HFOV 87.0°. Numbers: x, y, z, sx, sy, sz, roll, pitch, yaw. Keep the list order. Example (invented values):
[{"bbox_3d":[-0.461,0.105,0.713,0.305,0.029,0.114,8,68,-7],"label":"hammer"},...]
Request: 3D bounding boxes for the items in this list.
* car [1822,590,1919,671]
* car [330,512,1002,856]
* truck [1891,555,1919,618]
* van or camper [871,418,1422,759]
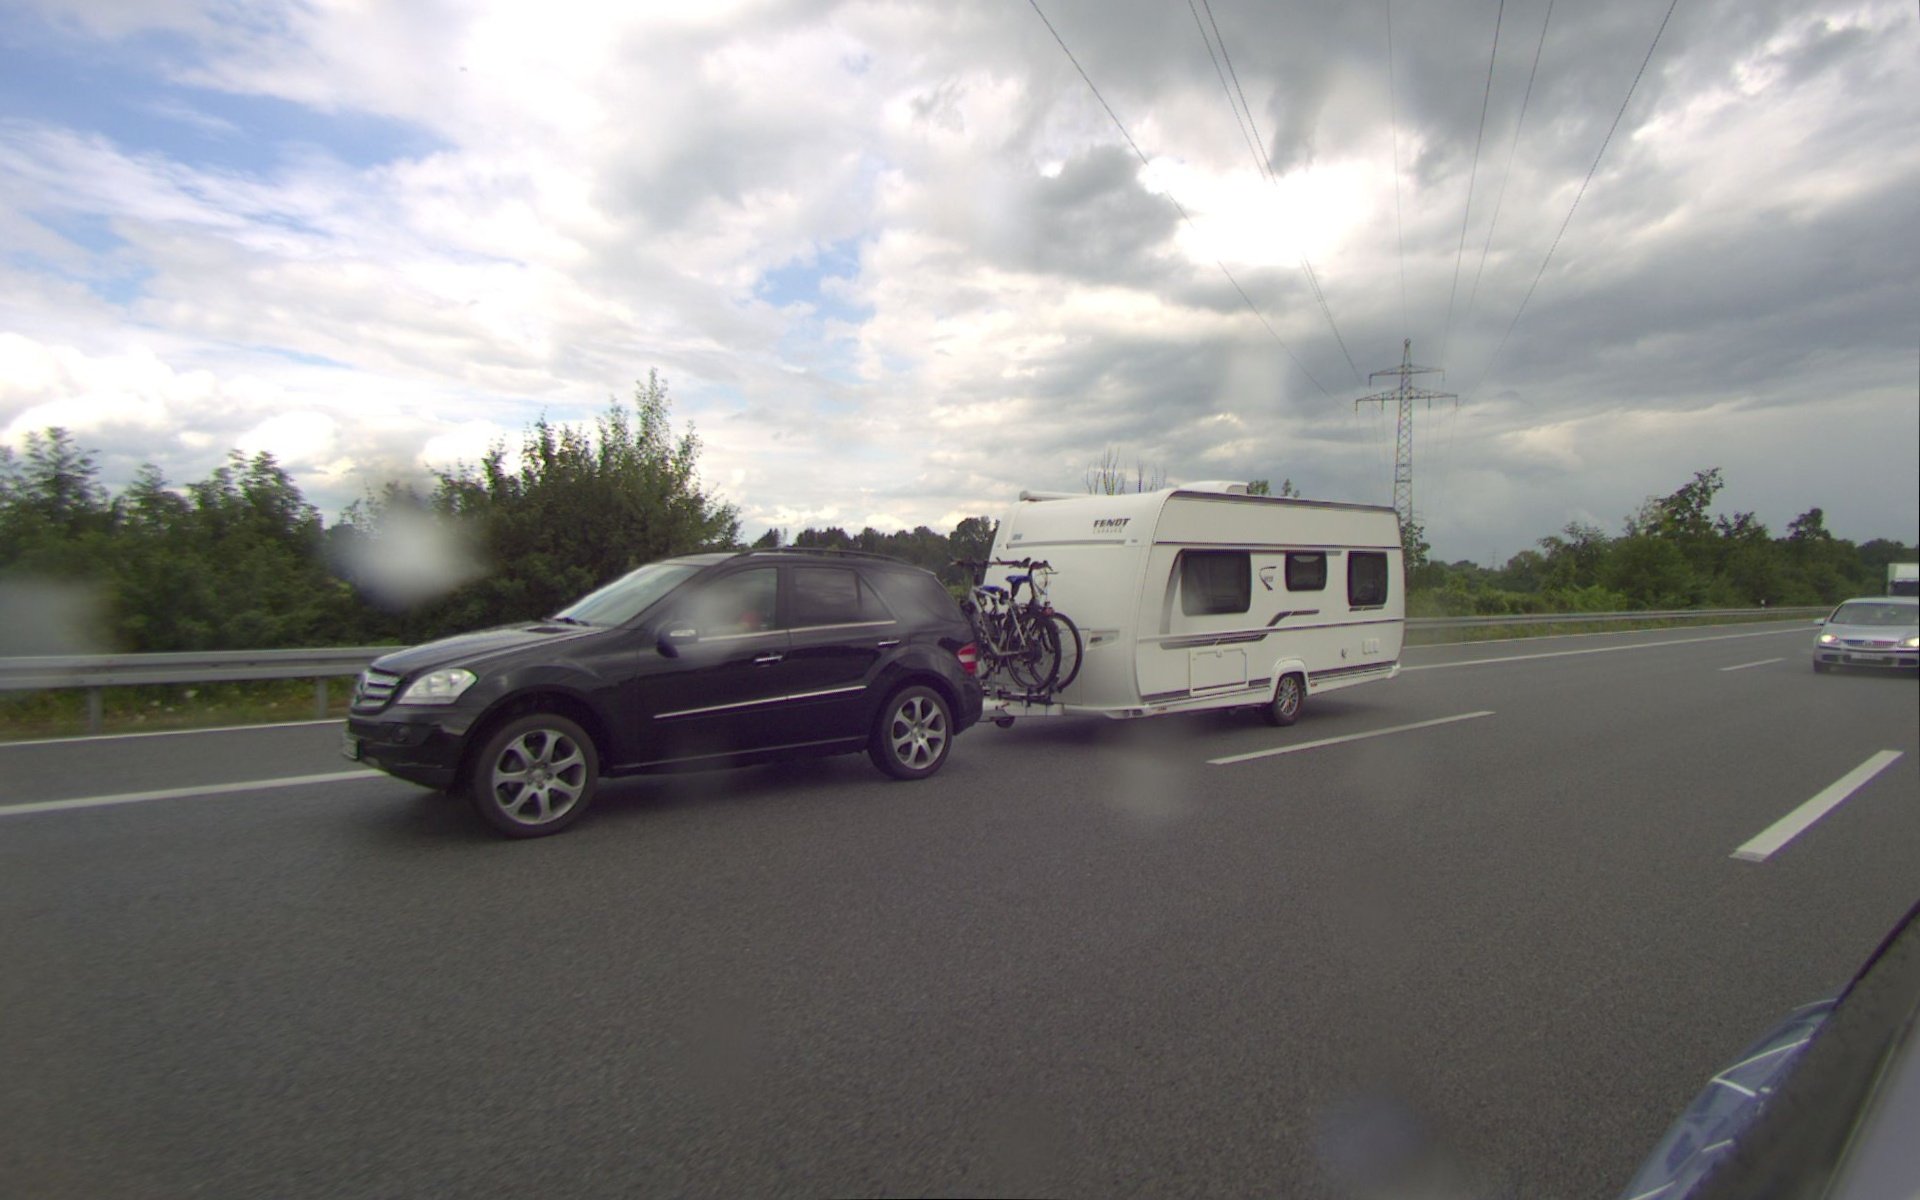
[{"bbox_3d":[18.511,0.534,19.978,3.930,1.464,1.682,-1,1,-41],"label":"car"},{"bbox_3d":[-1.927,0.412,7.509,4.426,1.798,1.923,-1,1,-42],"label":"car"},{"bbox_3d":[59.769,-0.812,62.043,9.426,3.700,2.868,-1,0,-41],"label":"truck"},{"bbox_3d":[2.526,-0.128,11.513,7.086,2.773,2.387,-1,0,-42],"label":"van or camper"}]
